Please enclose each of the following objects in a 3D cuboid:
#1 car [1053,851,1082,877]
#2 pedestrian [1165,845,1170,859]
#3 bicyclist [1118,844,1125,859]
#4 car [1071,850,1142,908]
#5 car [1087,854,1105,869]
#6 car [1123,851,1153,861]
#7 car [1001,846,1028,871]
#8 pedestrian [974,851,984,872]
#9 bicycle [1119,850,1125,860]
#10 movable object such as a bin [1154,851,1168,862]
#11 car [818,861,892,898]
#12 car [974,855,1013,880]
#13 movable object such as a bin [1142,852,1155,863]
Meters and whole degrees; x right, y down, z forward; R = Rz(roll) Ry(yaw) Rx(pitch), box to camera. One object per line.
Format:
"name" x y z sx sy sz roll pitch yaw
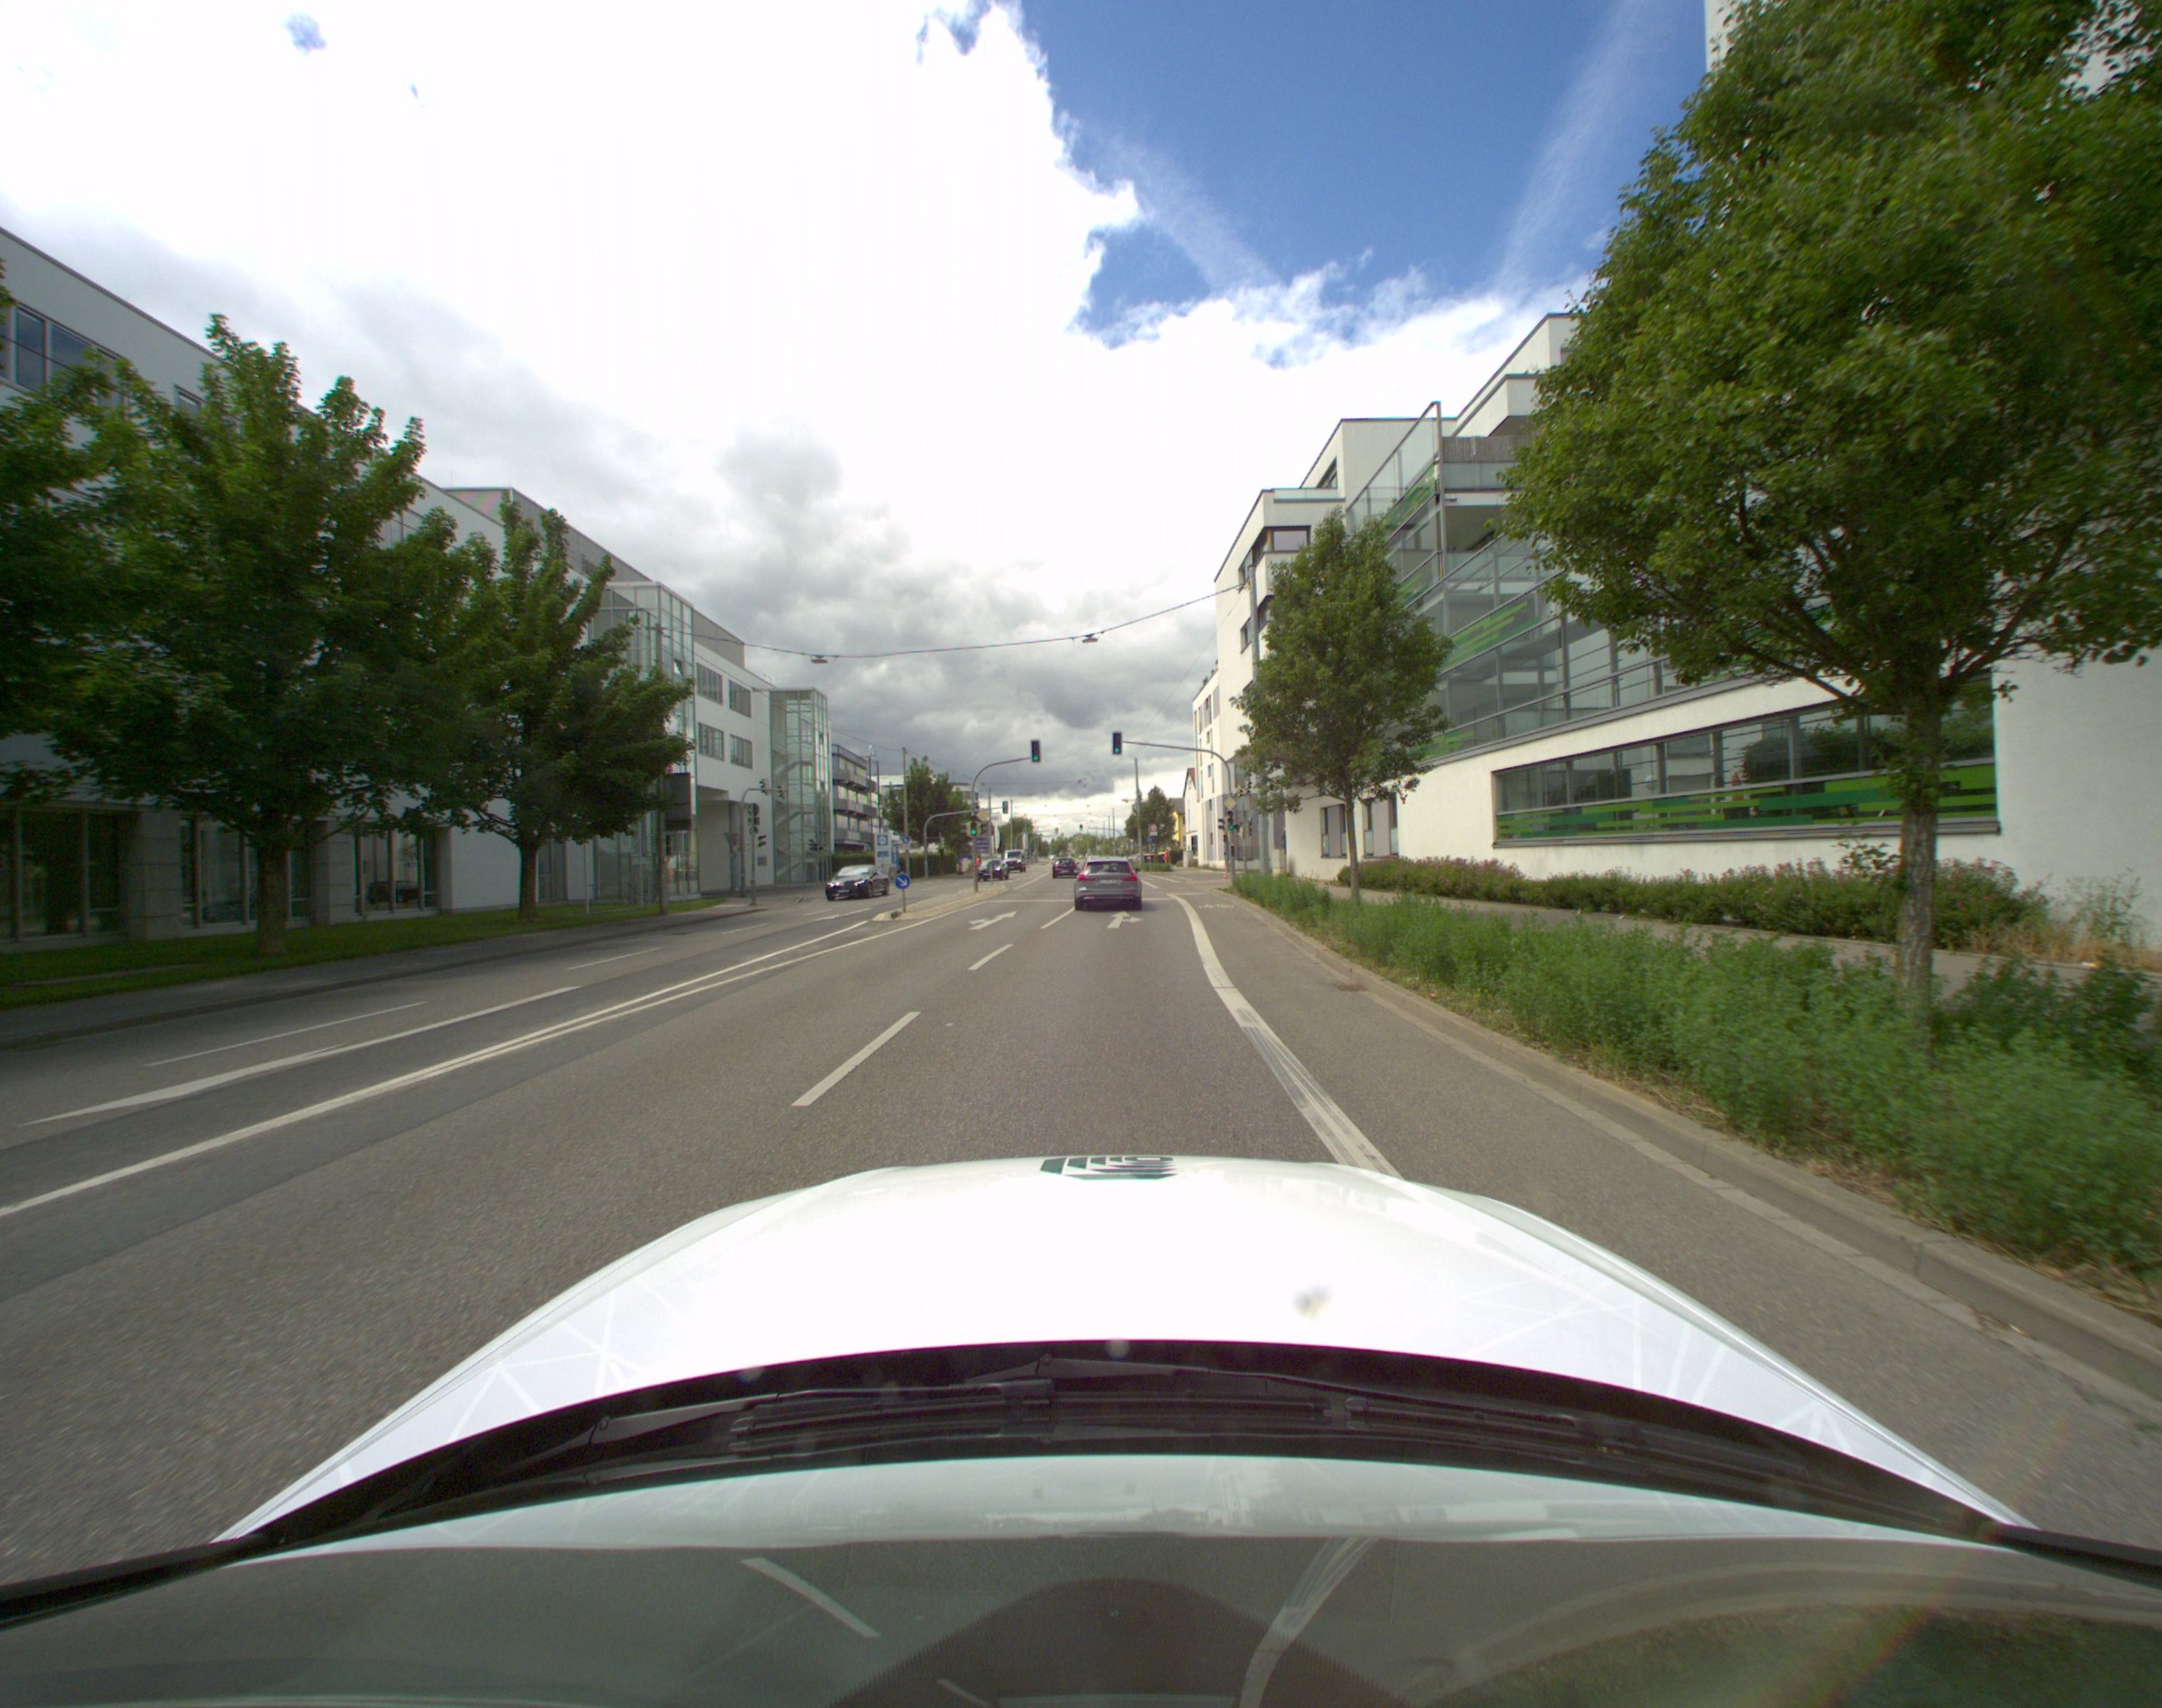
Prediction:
"car" -0.955 0.693 56.273 1.988 1.717 3.997 0 -1 -2
"pedestrian" 10.600 -0.242 100.233 0.503 1.765 0.503 0 -1 17
"bicyclist" 4.877 -0.286 98.001 0.636 1.675 0.890 -5 0 0
"car" 0.713 0.694 23.573 1.889 1.554 4.000 0 -1 1
"car" 1.709 0.912 94.231 1.987 1.695 3.999 0 -1 0
"car" 9.216 0.361 130.939 4.682 1.493 2.045 -1 0 -1
"car" -7.068 0.512 87.447 2.135 2.471 6.074 -3 0 1
"pedestrian" -10.249 0.756 81.821 0.717 2.014 0.815 -1 -2 43
"bicycle" 4.914 0.119 97.880 0.636 1.063 1.977 -5 0 1
"movable object such as a bin" 10.025 0.313 102.206 1.306 1.435 1.259 -3 -2 37
"car" -10.227 1.096 37.234 2.019 1.445 5.046 -4 -1 -2
"car" -6.029 0.917 56.647 1.877 1.552 4.543 -3 -1 3
"movable object such as a bin" 8.449 0.435 101.753 1.309 1.361 1.256 -2 -2 16
